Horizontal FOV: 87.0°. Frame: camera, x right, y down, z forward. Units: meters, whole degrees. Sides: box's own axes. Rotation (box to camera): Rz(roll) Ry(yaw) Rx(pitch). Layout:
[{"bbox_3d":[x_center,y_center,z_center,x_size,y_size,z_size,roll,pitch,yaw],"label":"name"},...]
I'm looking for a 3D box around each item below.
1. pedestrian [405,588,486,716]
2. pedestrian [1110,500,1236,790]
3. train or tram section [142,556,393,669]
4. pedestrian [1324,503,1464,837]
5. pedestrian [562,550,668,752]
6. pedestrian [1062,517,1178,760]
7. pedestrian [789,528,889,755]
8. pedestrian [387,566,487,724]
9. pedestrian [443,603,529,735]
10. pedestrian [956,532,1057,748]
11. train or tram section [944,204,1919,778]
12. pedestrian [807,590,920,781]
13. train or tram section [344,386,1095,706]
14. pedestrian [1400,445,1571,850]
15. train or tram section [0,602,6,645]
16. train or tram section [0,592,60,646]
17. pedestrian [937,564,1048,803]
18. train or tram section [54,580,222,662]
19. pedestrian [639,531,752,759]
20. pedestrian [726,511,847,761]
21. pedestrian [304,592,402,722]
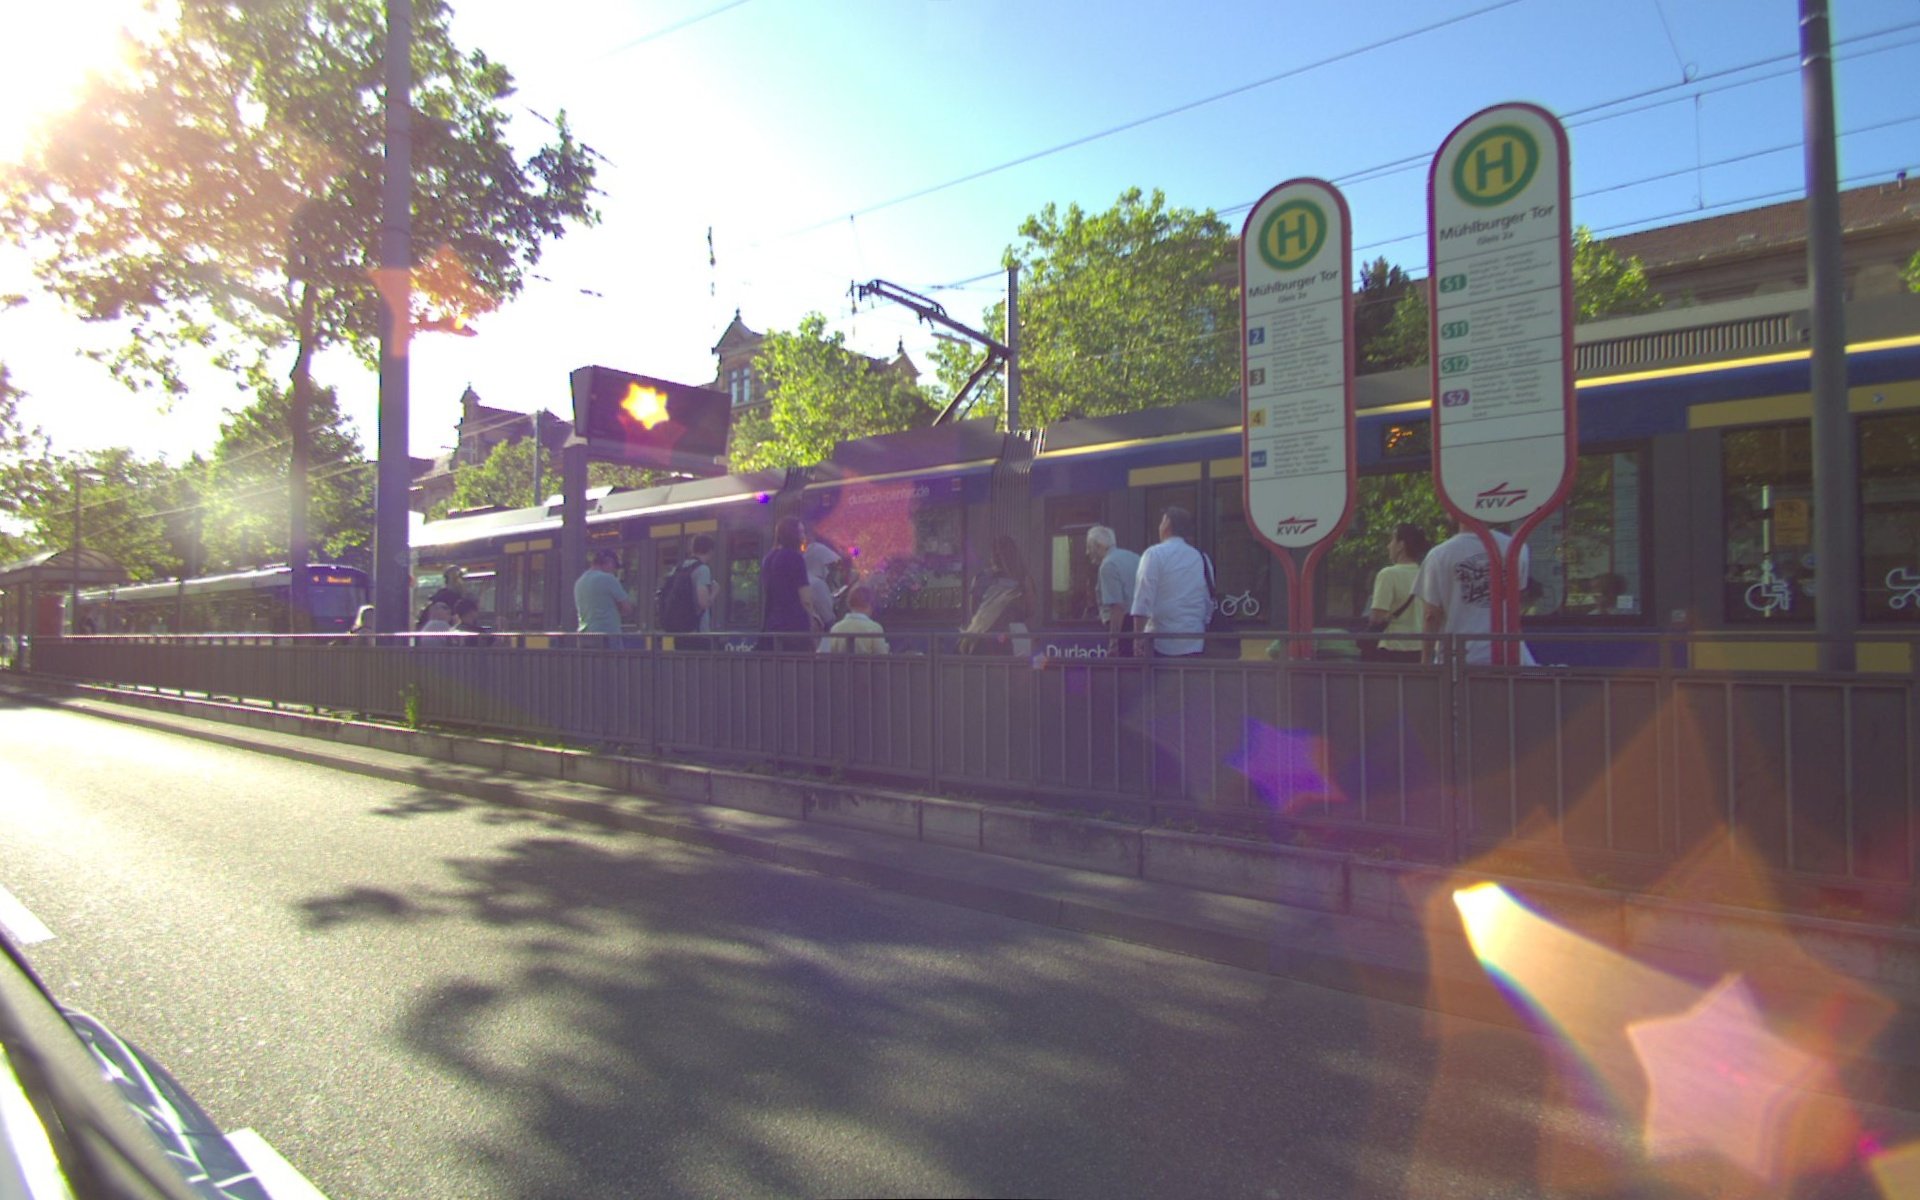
[{"bbox_3d":[-5.471,0.550,10.758,0.603,1.309,0.529,-2,-3,36],"label":"pedestrian"},{"bbox_3d":[1.330,0.276,6.385,0.498,1.715,0.613,1,-3,-23],"label":"pedestrian"},{"bbox_3d":[-26.464,0.651,37.823,18.196,3.460,2.821,-2,-1,40],"label":"train or tram section"},{"bbox_3d":[2.495,0.387,5.820,0.610,1.784,0.548,-2,-3,35],"label":"pedestrian"},{"bbox_3d":[-2.958,0.431,8.687,0.570,1.646,0.654,-2,-3,40],"label":"pedestrian"},{"bbox_3d":[1.166,0.276,7.368,0.621,1.662,0.613,-2,-3,35],"label":"pedestrian"},{"bbox_3d":[-0.963,0.327,8.057,0.620,1.721,0.509,-2,-3,39],"label":"pedestrian"},{"bbox_3d":[-6.122,0.526,11.868,0.722,1.766,0.768,-2,-3,35],"label":"pedestrian"},{"bbox_3d":[-4.708,0.674,10.056,0.603,1.256,0.529,-2,-3,37],"label":"pedestrian"},{"bbox_3d":[0.347,0.298,7.556,0.530,1.530,0.539,-2,-3,39],"label":"pedestrian"},{"bbox_3d":[5.820,-0.628,7.397,13.099,3.285,2.886,-1,0,39],"label":"train or tram section"},{"bbox_3d":[-0.639,0.552,6.760,0.530,1.201,0.540,-2,-3,39],"label":"pedestrian"},{"bbox_3d":[-5.376,-0.490,16.547,15.876,3.285,2.886,-1,0,39],"label":"train or tram section"},{"bbox_3d":[2.426,0.210,4.673,0.610,1.715,0.501,-2,-3,35],"label":"pedestrian"},{"bbox_3d":[-63.269,1.555,63.894,15.057,2.551,2.537,-2,-2,39],"label":"train or tram section"},{"bbox_3d":[-51.435,1.144,54.110,15.659,2.584,2.537,-2,-2,39],"label":"train or tram section"},{"bbox_3d":[0.190,0.475,5.960,0.506,1.326,0.412,-2,-3,37],"label":"pedestrian"},{"bbox_3d":[-40.524,1.154,49.433,18.257,3.460,2.842,-2,-1,40],"label":"train or tram section"},{"bbox_3d":[-2.102,0.351,8.056,0.570,1.709,0.654,-2,-3,40],"label":"pedestrian"},{"bbox_3d":[-1.260,0.260,7.369,0.570,1.709,0.654,-2,-3,40],"label":"pedestrian"},{"bbox_3d":[-7.445,0.693,12.418,0.750,1.521,0.768,-2,-3,35],"label":"pedestrian"}]
